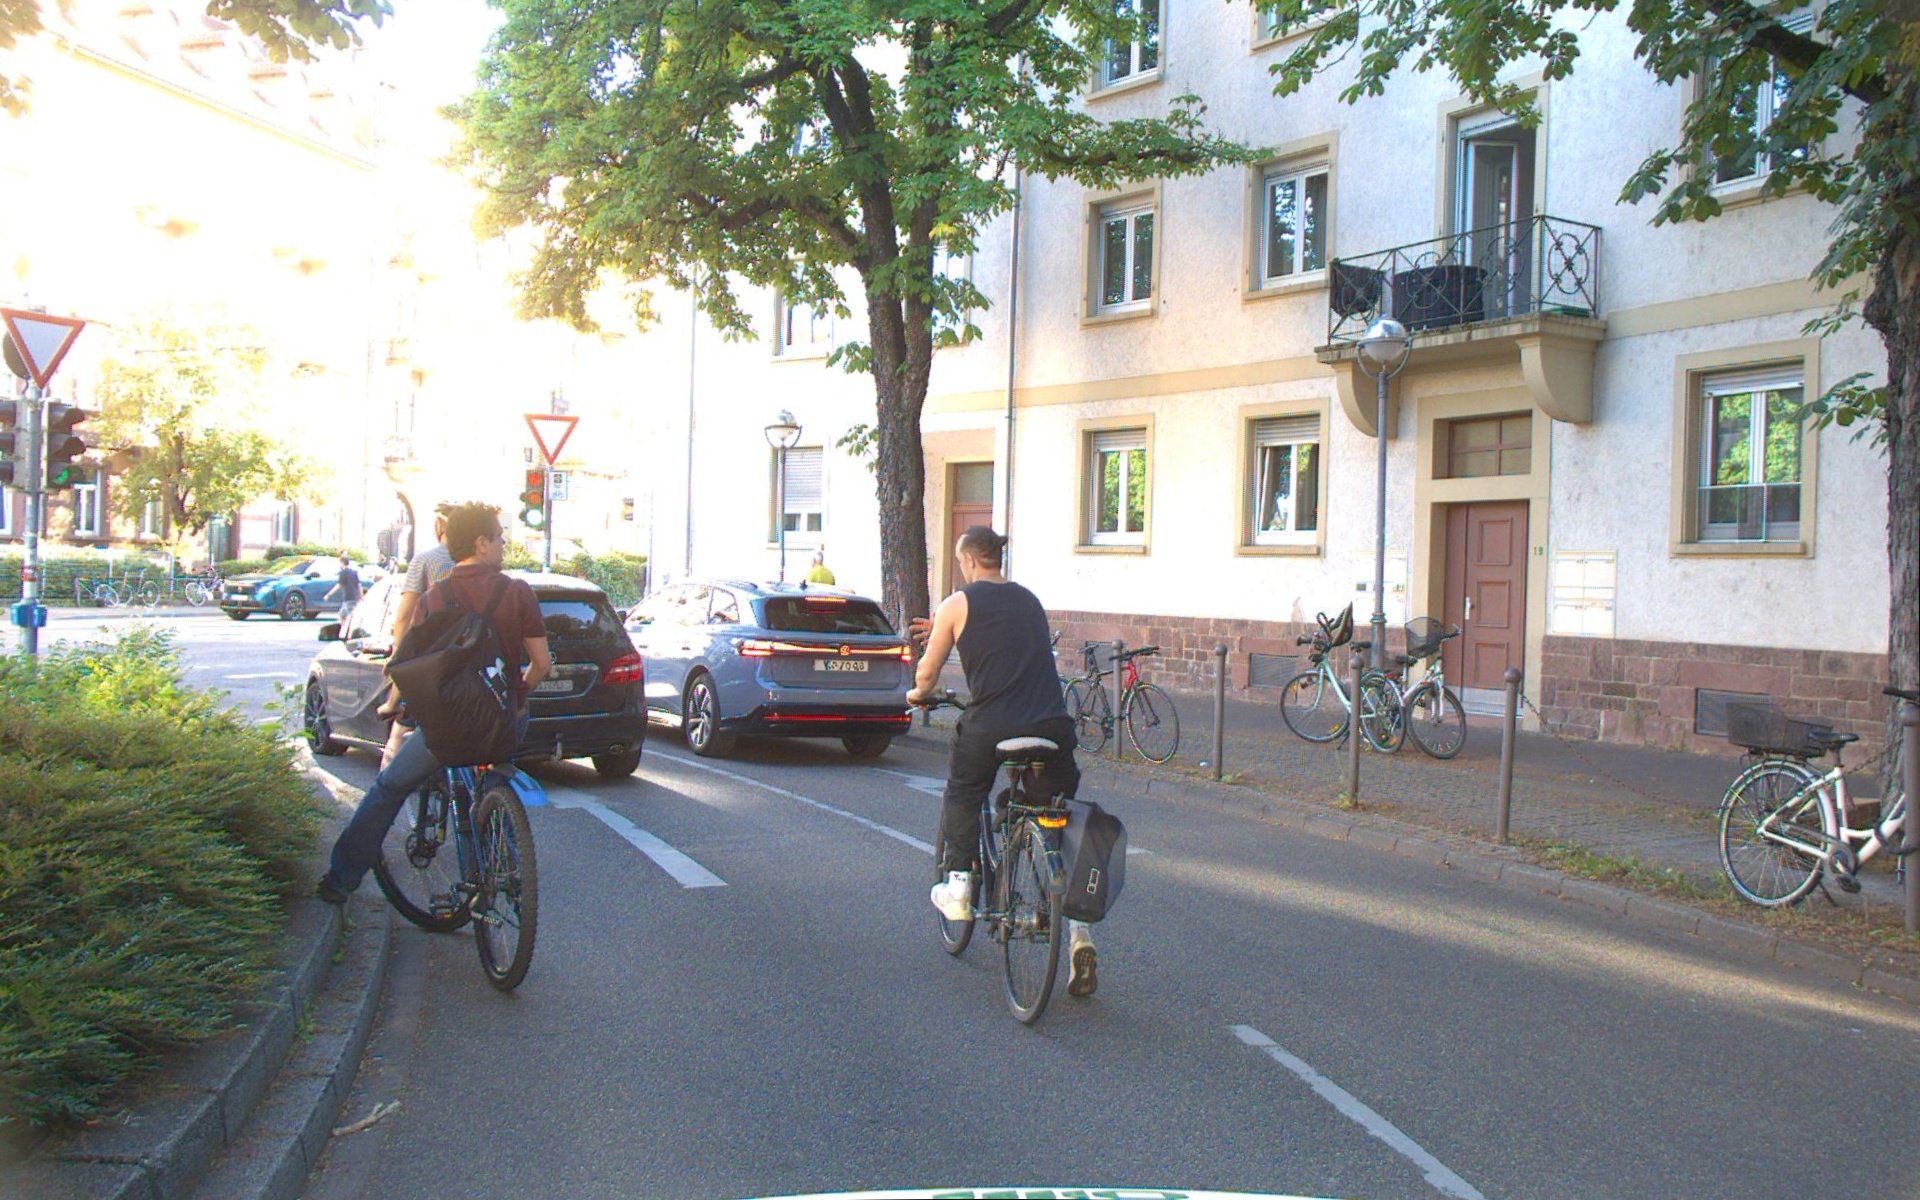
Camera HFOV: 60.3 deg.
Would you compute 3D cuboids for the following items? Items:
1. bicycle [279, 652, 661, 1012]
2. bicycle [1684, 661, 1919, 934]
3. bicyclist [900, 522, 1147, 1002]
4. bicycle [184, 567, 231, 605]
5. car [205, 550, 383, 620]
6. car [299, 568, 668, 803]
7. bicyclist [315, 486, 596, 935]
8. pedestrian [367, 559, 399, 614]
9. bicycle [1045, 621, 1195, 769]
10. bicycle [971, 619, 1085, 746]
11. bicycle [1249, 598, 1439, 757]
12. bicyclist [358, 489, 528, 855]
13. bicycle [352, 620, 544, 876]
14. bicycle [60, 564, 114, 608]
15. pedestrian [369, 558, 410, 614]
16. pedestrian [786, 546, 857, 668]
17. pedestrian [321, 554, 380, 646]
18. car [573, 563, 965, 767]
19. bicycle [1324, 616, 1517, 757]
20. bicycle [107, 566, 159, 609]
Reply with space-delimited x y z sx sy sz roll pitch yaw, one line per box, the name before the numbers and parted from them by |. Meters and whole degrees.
bicycle | -2.023 0.825 6.635 0.713 1.126 1.937 2 0 -41
bicycle | 4.290 0.893 7.660 0.505 1.114 1.962 0 1 -20
bicyclist | 0.216 0.562 6.364 0.675 1.685 0.985 0 1 -15
bicycle | -21.457 -0.393 47.182 0.433 1.056 1.233 3 1 21
car | -17.177 -0.373 42.884 1.901 1.678 4.413 2 0 17
car | -3.925 0.534 13.213 1.774 1.569 3.814 -1 1 -34
bicyclist | -1.991 0.389 6.486 0.702 1.601 0.943 2 0 -40
pedestrian | -18.373 -0.428 52.662 0.649 1.745 0.635 2 0 29
bicycle | 1.368 0.790 14.439 0.519 1.126 1.728 -1 2 -24
bicycle | 0.639 0.766 16.003 0.474 1.082 1.625 -1 2 -22
bicycle | 3.421 0.650 14.929 0.707 1.299 1.955 0 1 -21
bicyclist | -2.949 0.384 9.394 0.783 1.946 0.938 2 0 -23
bicycle | -2.960 0.756 9.401 0.799 1.205 2.211 2 1 -23
bicycle | -22.917 -0.367 43.423 0.433 1.126 1.233 3 1 22
pedestrian | -17.890 -0.443 51.869 0.698 1.693 0.895 5 2 33
pedestrian | -2.051 0.088 24.469 0.639 1.757 0.875 -2 2 -41
pedestrian | -11.537 -0.001 31.327 0.887 1.663 0.723 4 1 -15
car | -1.980 0.533 15.757 1.951 1.613 4.426 4 -1 -32
bicycle | 4.118 0.747 14.957 0.657 1.126 1.956 2 0 -19
bicycle | -22.361 -0.326 44.736 0.433 1.126 1.233 3 1 22
